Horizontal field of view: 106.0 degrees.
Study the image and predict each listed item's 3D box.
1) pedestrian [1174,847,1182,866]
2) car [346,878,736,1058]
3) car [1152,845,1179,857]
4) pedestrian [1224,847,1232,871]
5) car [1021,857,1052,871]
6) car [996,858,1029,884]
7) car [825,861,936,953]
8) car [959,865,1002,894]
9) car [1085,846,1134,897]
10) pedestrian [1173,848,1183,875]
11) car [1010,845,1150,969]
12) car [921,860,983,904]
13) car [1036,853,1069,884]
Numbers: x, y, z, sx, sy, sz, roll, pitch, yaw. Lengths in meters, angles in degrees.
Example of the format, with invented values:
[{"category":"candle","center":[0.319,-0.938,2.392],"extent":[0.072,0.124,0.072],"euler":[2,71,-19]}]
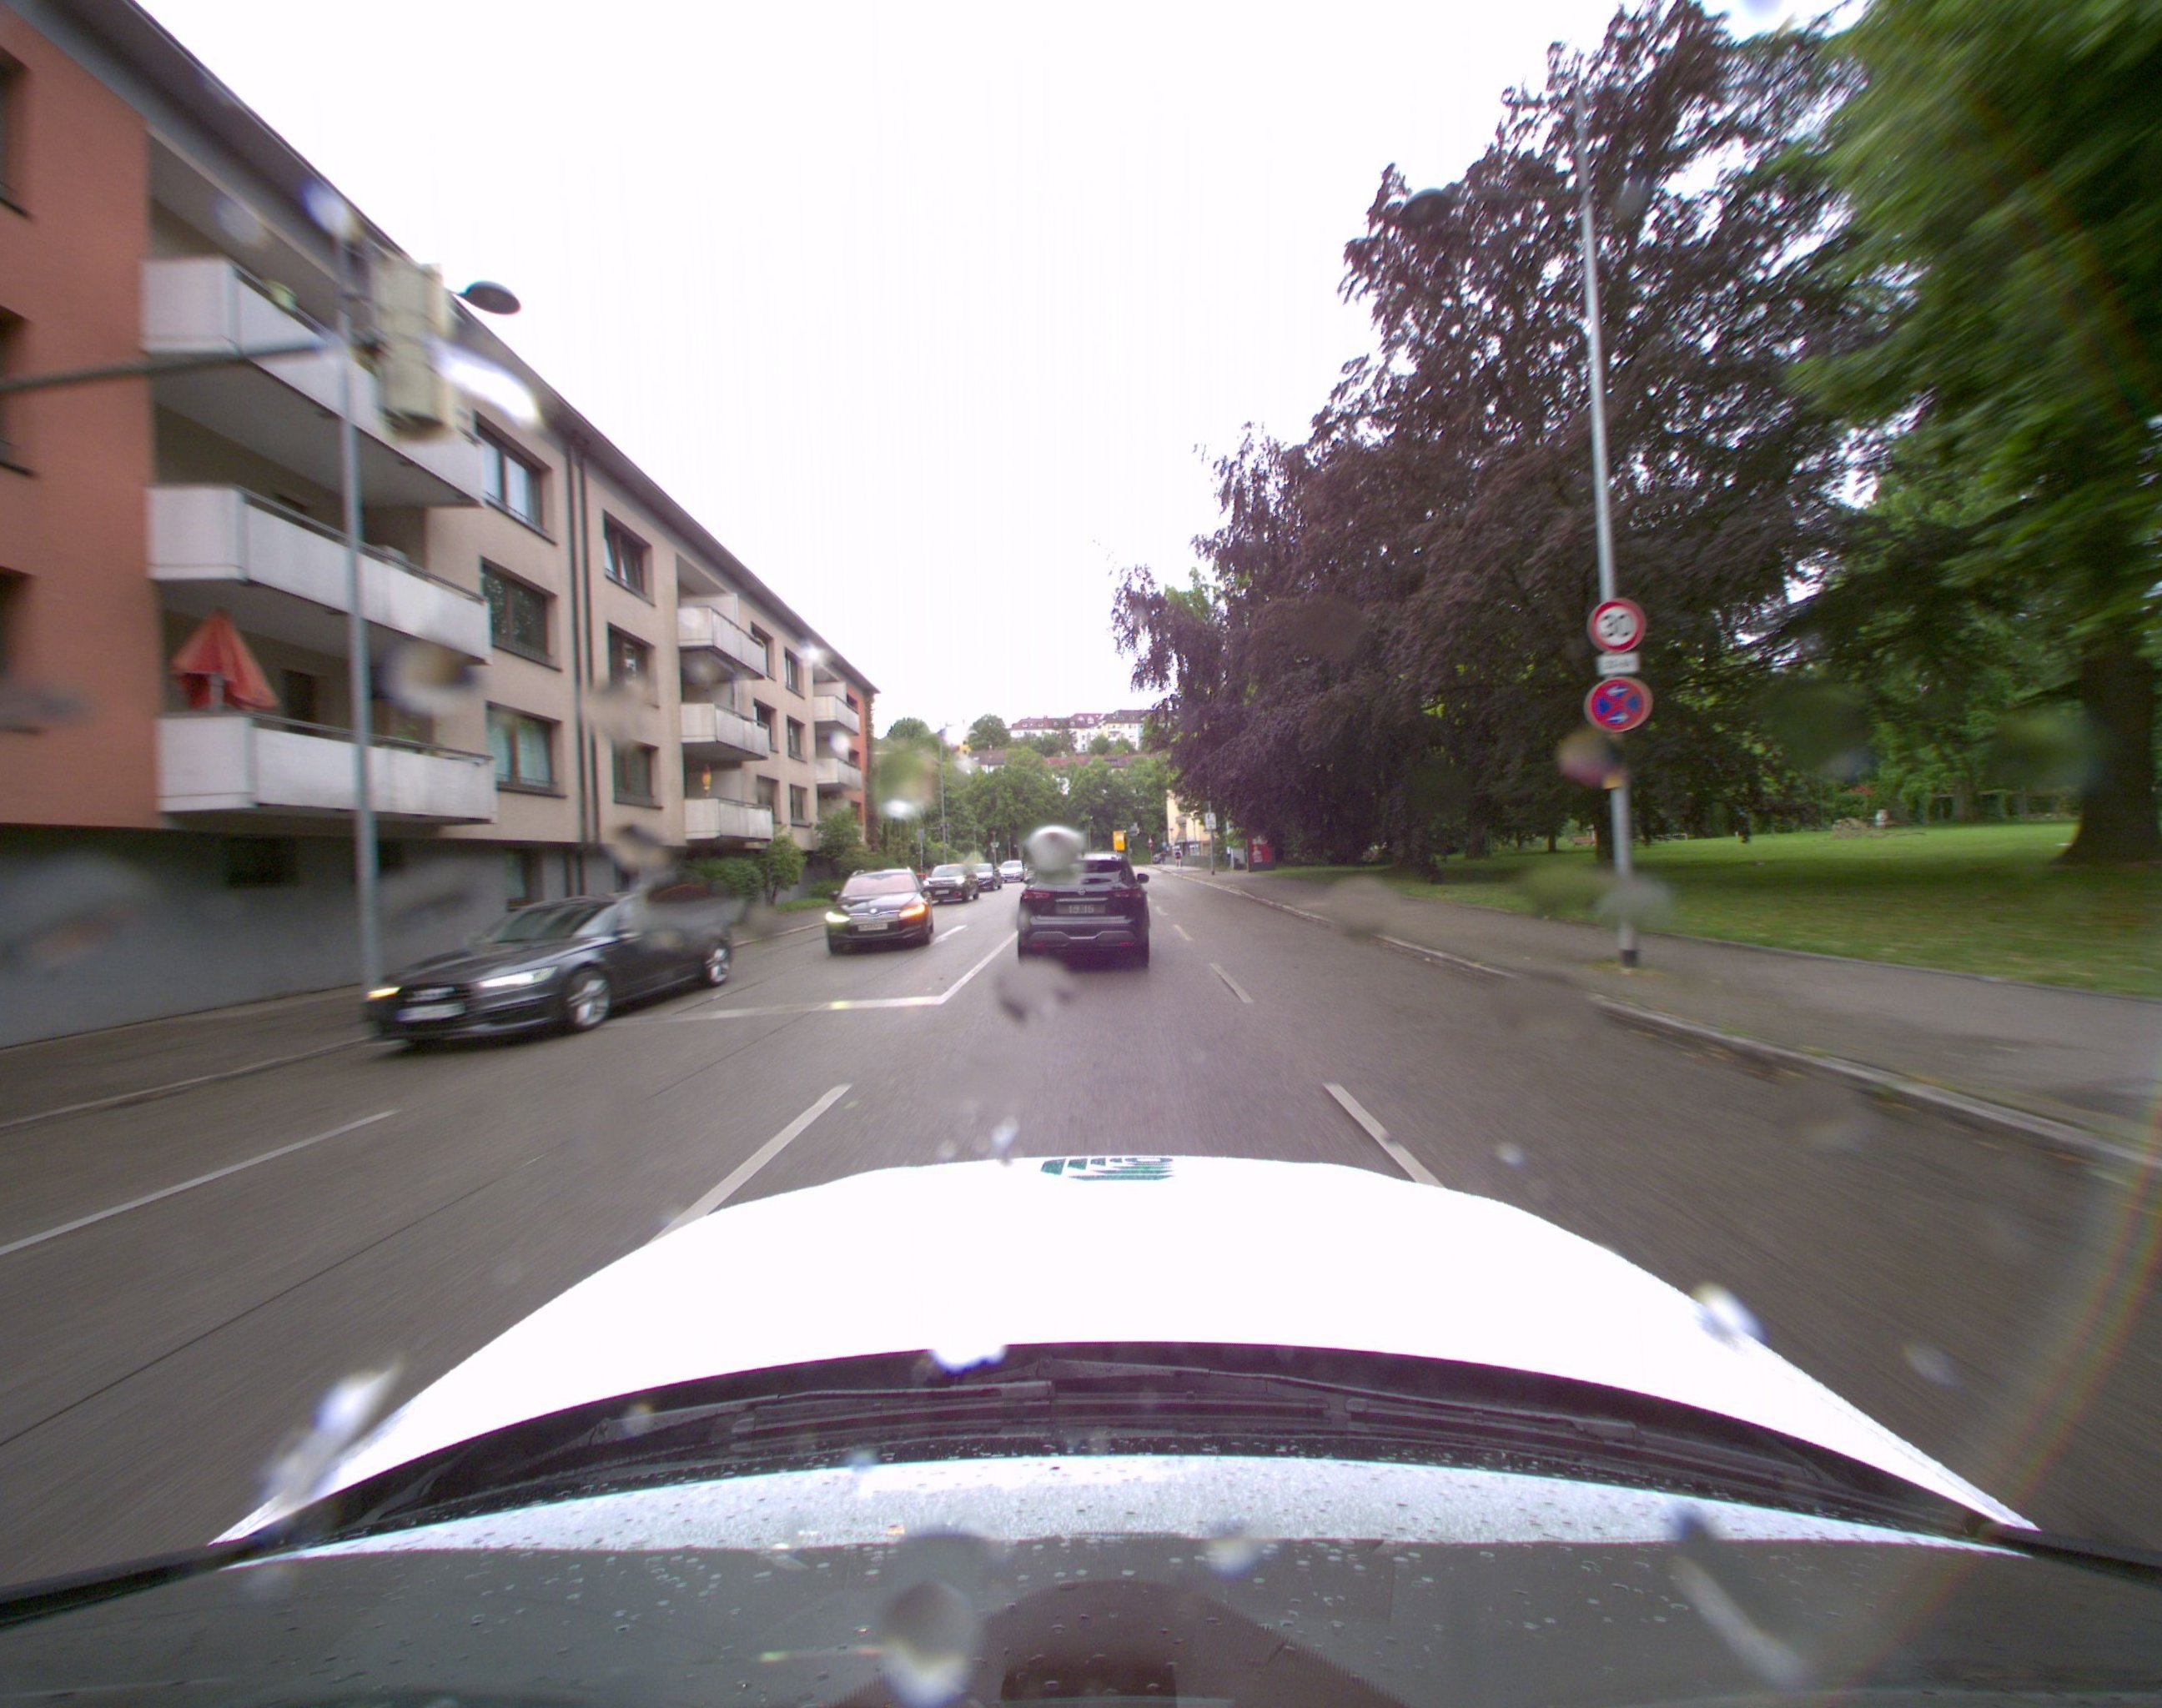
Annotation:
[{"category":"pedestrian","center":[9.539,0.233,80.301],"extent":[0.616,1.779,0.778],"euler":[-4,-1,1]},{"category":"car","center":[-6.004,1.139,9.819],"extent":[1.769,1.469,4.217],"euler":[-4,0,0]},{"category":"car","center":[13.979,-0.514,134.323],"extent":[3.986,1.684,1.994],"euler":[-3,0,-9]},{"category":"pedestrian","center":[10.212,0.338,56.543],"extent":[0.540,1.651,0.492],"euler":[-1,-1,15]},{"category":"car","center":[-7.218,1.673,132.988],"extent":[4.604,2.000,2.007],"euler":[-3,0,12]},{"category":"car","center":[-4.667,1.161,56.030],"extent":[1.743,1.633,3.636],"euler":[-3,0,2]},{"category":"car","center":[-3.861,0.956,16.299],"extent":[1.747,1.469,4.203],"euler":[-4,0,-10]},{"category":"car","center":[-5.195,1.299,42.397],"extent":[1.671,1.296,3.751],"euler":[-4,0,0]},{"category":"car","center":[1.104,0.624,30.623],"extent":[1.615,1.709,3.774],"euler":[-4,0,3]},{"category":"pedestrian","center":[8.018,0.633,67.066],"extent":[0.765,2.184,0.712],"euler":[-1,-1,4]},{"category":"car","center":[0.039,0.722,12.551],"extent":[1.799,1.590,4.001],"euler":[-1,-1,1]},{"category":"car","center":[-5.027,1.044,32.225],"extent":[1.671,1.469,4.217],"euler":[-4,0,0]},{"category":"car","center":[-1.750,0.894,51.238],"extent":[1.757,1.758,3.636],"euler":[-3,0,2]}]
